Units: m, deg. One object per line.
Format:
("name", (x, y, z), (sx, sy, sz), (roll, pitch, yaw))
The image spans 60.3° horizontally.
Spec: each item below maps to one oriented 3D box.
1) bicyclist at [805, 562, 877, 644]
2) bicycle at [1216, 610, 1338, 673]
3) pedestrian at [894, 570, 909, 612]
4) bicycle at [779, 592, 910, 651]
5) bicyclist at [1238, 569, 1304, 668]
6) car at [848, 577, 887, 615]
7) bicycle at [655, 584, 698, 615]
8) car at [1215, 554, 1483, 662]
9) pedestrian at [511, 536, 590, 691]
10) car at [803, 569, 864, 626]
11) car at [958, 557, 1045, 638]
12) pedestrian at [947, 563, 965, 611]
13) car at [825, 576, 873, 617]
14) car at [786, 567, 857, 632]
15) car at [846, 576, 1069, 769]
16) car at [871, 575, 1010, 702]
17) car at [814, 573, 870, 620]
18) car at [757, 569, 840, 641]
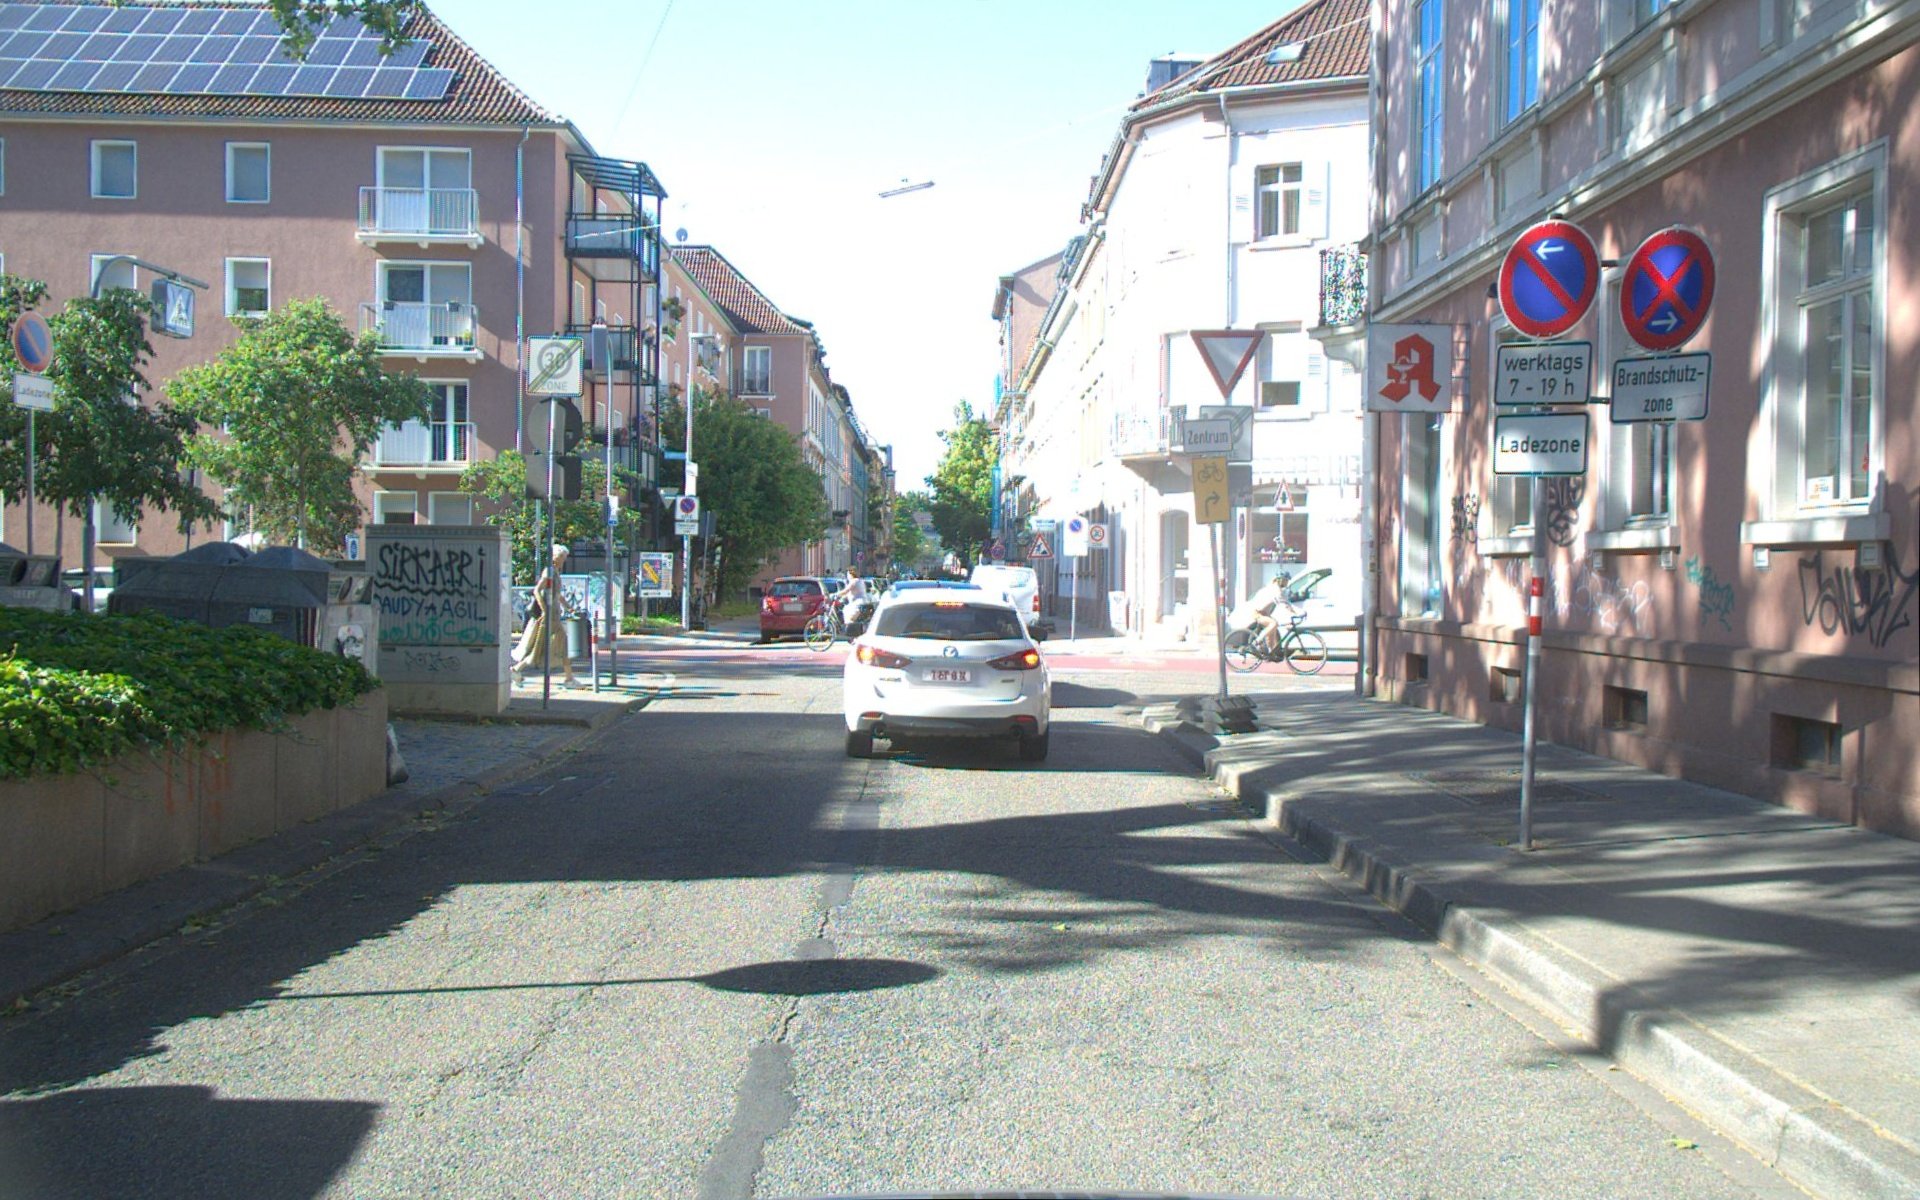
("bicyclist", (-2.272, 0.049, 31.619), (1.170, 1.543, 0.841), (0, 0, 14))
("bicycle", (5.135, 0.667, 26.867), (1.887, 1.003, 0.663), (0, 0, 3))
("pedestrian", (-2.598, -0.396, 73.221), (0.634, 1.828, 0.639), (0, 0, 0))
("bicycle", (-2.203, 0.398, 31.573), (2.373, 1.098, 0.791), (0, 0, 14))
("bicyclist", (5.034, 0.299, 26.837), (0.962, 1.580, 0.761), (0, 0, 3))
("car", (-4.018, -0.185, 72.366), (1.540, 1.613, 3.610), (0, 0, 0))
("bicycle", (-8.803, -0.010, 51.336), (0.598, 0.948, 1.892), (0, 0, -34))
("car", (7.585, 0.143, 32.270), (4.791, 1.962, 1.999), (1, -1, 24))
("pedestrian", (-5.039, 0.164, 20.362), (0.839, 1.847, 0.812), (3, -1, -14))
("car", (-3.882, -0.071, 51.261), (1.602, 1.685, 3.784), (0, 0, 0))
("car", (1.035, -0.090, 43.462), (1.904, 1.982, 4.076), (1, 1, -3))
("pedestrian", (-0.179, -0.574, 73.429), (0.755, 2.155, 0.834), (0, 0, 0))
("car", (-4.140, -0.139, 62.054), (1.569, 1.503, 3.567), (0, 0, 0))
("car", (-3.787, -0.022, 45.748), (1.685, 1.712, 3.726), (0, 0, 0))
("car", (-0.069, 0.567, 15.342), (1.787, 1.540, 3.822), (1, 1, -2))
("car", (-0.285, 0.431, 21.482), (1.648, 1.507, 3.660), (0, 1, -2))
("car", (-4.111, -0.129, 58.042), (1.685, 1.604, 3.725), (0, 0, 0))
("car", (-3.882, 0.086, 40.148), (1.734, 1.616, 3.725), (0, 2, -2))
